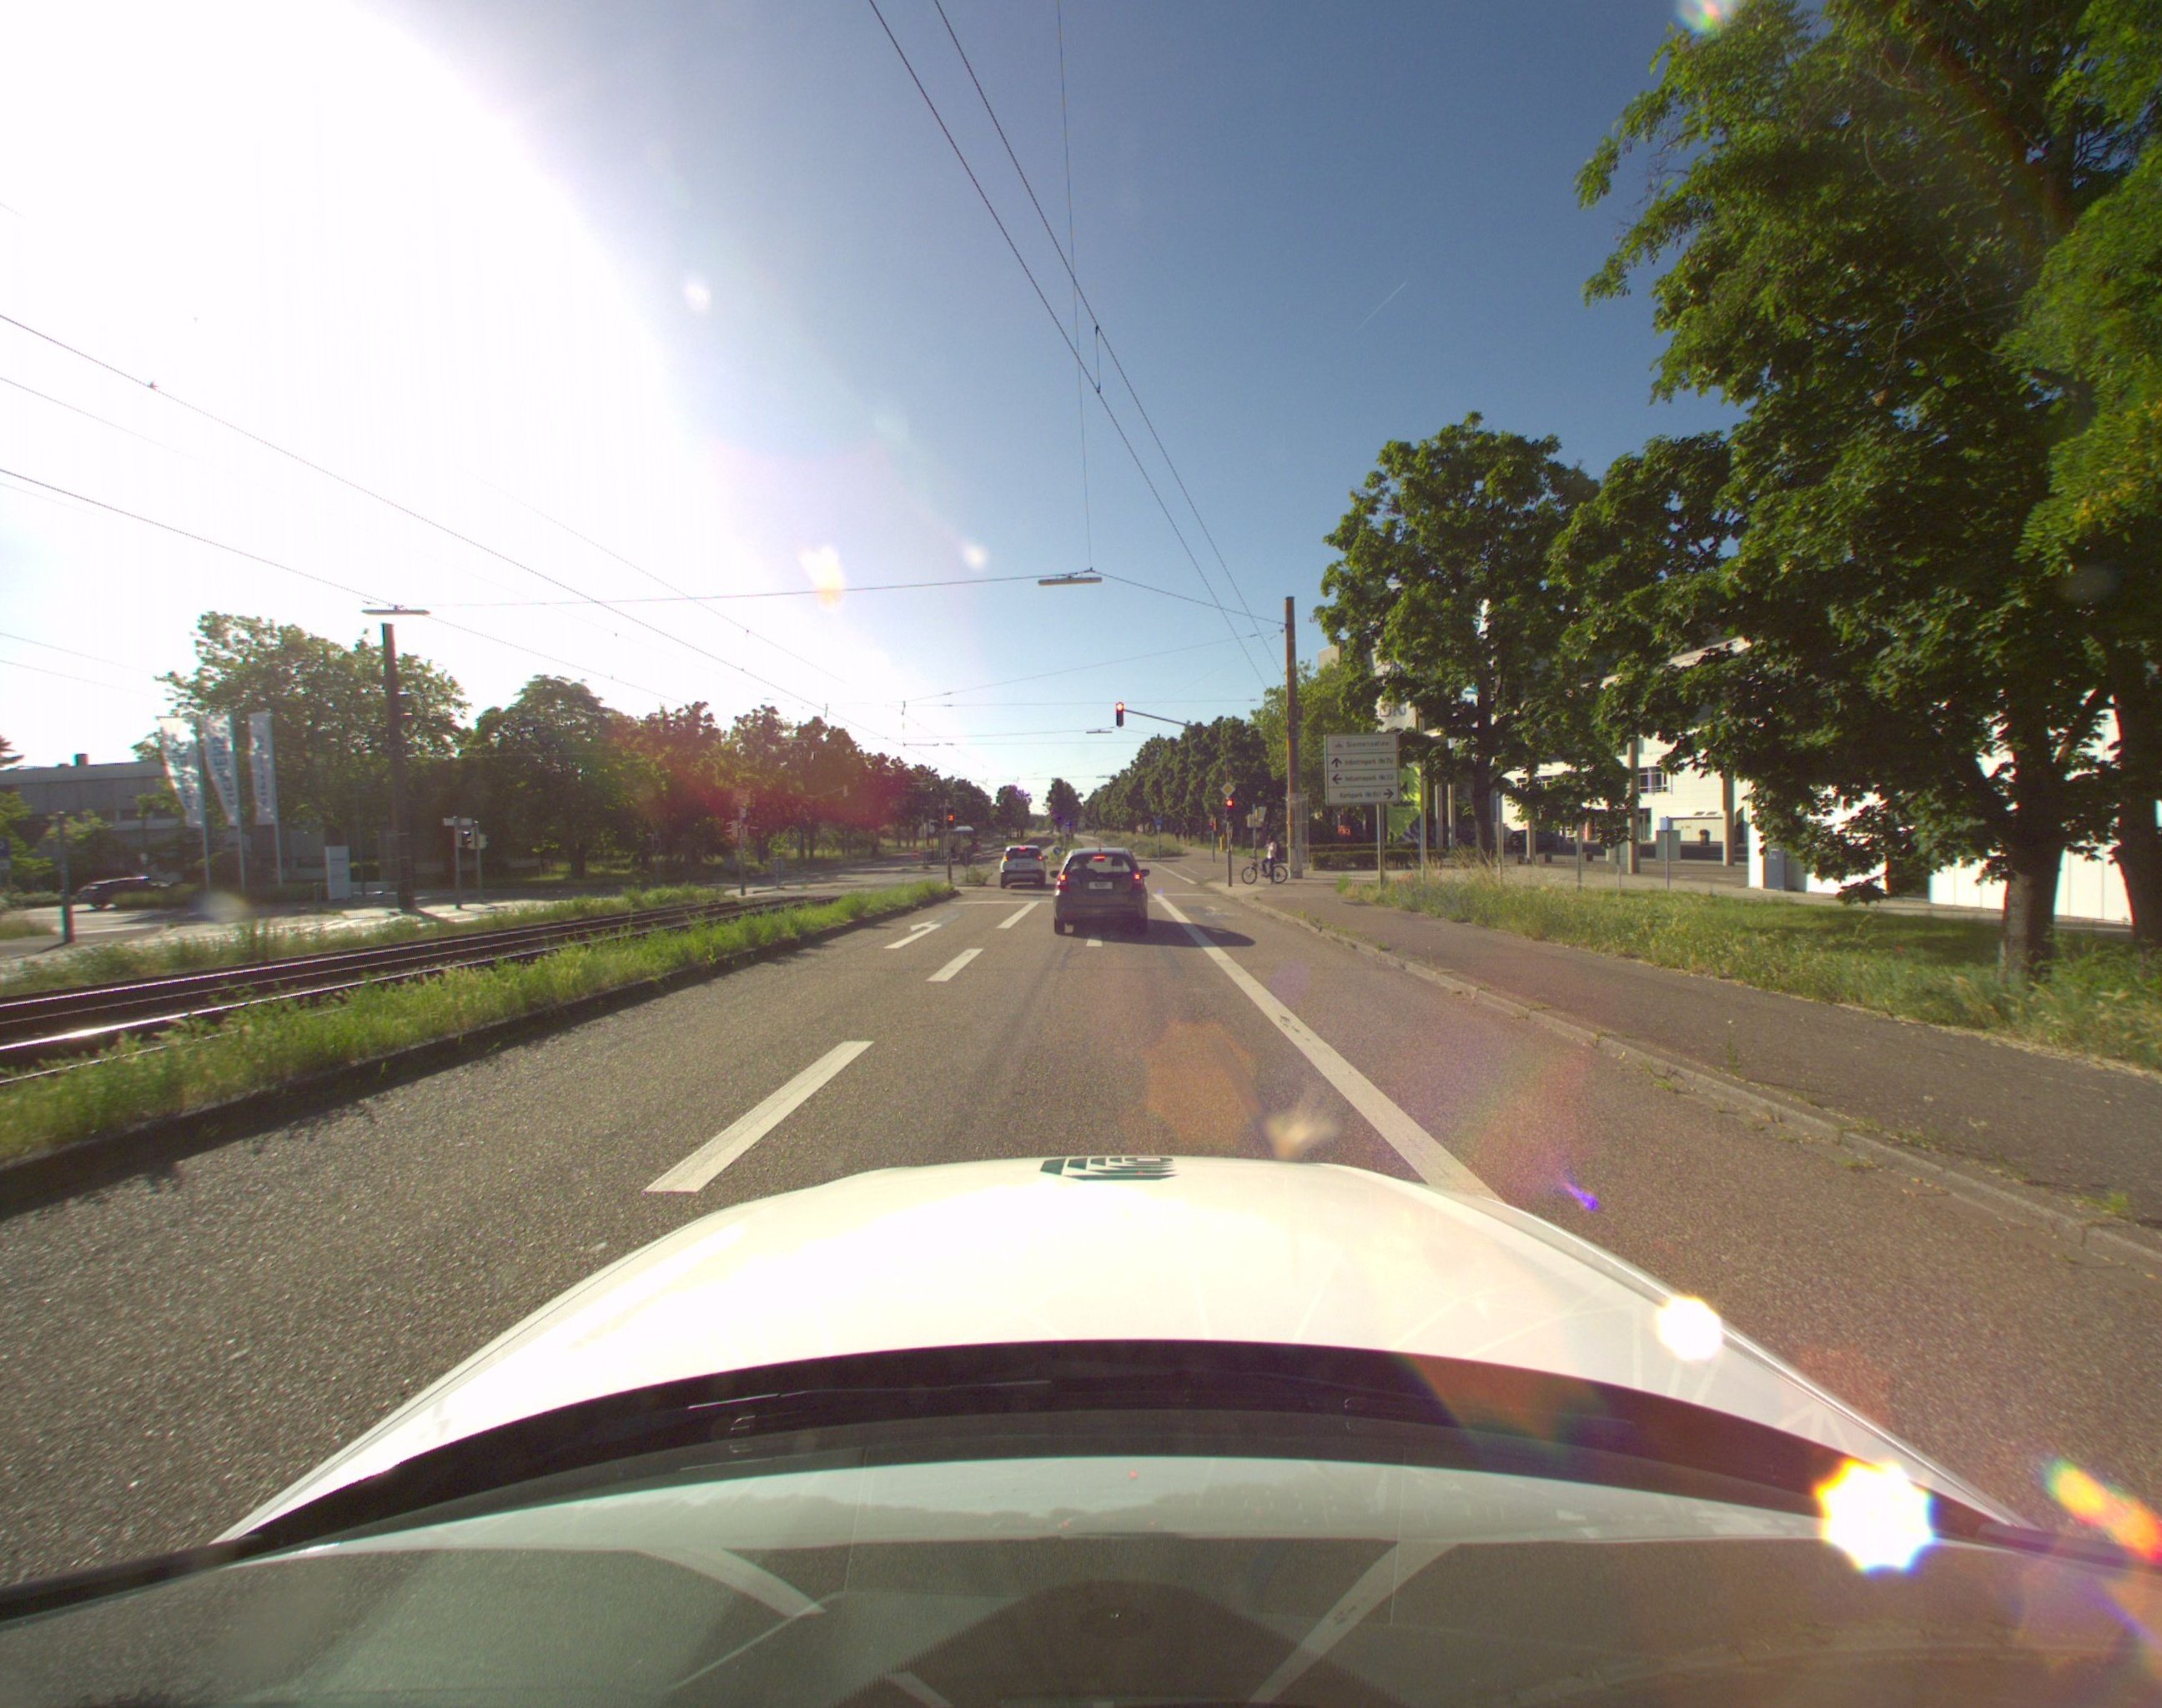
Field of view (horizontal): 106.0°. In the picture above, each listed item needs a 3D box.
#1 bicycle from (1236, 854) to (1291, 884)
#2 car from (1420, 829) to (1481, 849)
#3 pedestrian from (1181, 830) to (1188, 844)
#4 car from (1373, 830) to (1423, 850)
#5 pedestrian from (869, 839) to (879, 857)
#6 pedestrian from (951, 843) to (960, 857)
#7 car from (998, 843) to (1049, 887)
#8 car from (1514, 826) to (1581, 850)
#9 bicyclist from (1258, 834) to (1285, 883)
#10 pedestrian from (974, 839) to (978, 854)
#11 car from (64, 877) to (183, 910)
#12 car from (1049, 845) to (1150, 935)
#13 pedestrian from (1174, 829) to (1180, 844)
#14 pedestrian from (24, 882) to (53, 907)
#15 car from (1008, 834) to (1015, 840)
[{"bbox_3d":[6.735,0.540,30.052,1.907,0.998,0.767,-3,0,12],"label":"bicycle"},{"bbox_3d":[31.822,-1.297,70.219,4.538,1.629,1.870,-1,0,-11],"label":"car"},{"bbox_3d":[11.439,-1.876,90.034,0.676,1.610,0.720,0,0,-1],"label":"pedestrian"},{"bbox_3d":[30.044,-1.301,77.170,3.988,1.757,1.993,-1,1,-11],"label":"car"},{"bbox_3d":[-23.520,-0.649,92.669,0.837,2.013,0.863,-1,1,0],"label":"pedestrian"},{"bbox_3d":[-11.822,-0.405,76.818,0.718,1.246,0.711,-2,1,0],"label":"pedestrian"},{"bbox_3d":[-2.278,0.382,31.987,1.848,1.606,4.247,-1,0,-5],"label":"car"},{"bbox_3d":[34.303,-1.174,59.950,3.984,1.720,1.895,-1,1,-8],"label":"car"},{"bbox_3d":[7.007,0.157,29.990,0.904,1.745,0.767,-3,0,12],"label":"bicyclist"},{"bbox_3d":[-11.788,-0.858,91.383,0.502,1.675,0.386,-1,0,-10],"label":"pedestrian"},{"bbox_3d":[-50.828,2.038,43.334,1.685,1.488,3.862,-1,1,1],"label":"car"},{"bbox_3d":[0.407,0.592,15.827,1.700,1.508,4.003,0,1,3],"label":"car"},{"bbox_3d":[10.645,-1.909,90.019,0.565,1.596,0.665,0,0,-2],"label":"pedestrian"},{"bbox_3d":[-66.387,2.571,51.856,0.757,1.529,0.826,-1,1,12],"label":"pedestrian"},{"bbox_3d":[-21.402,-5.103,249.234,1.761,1.738,3.999,-1,0,0],"label":"car"}]
